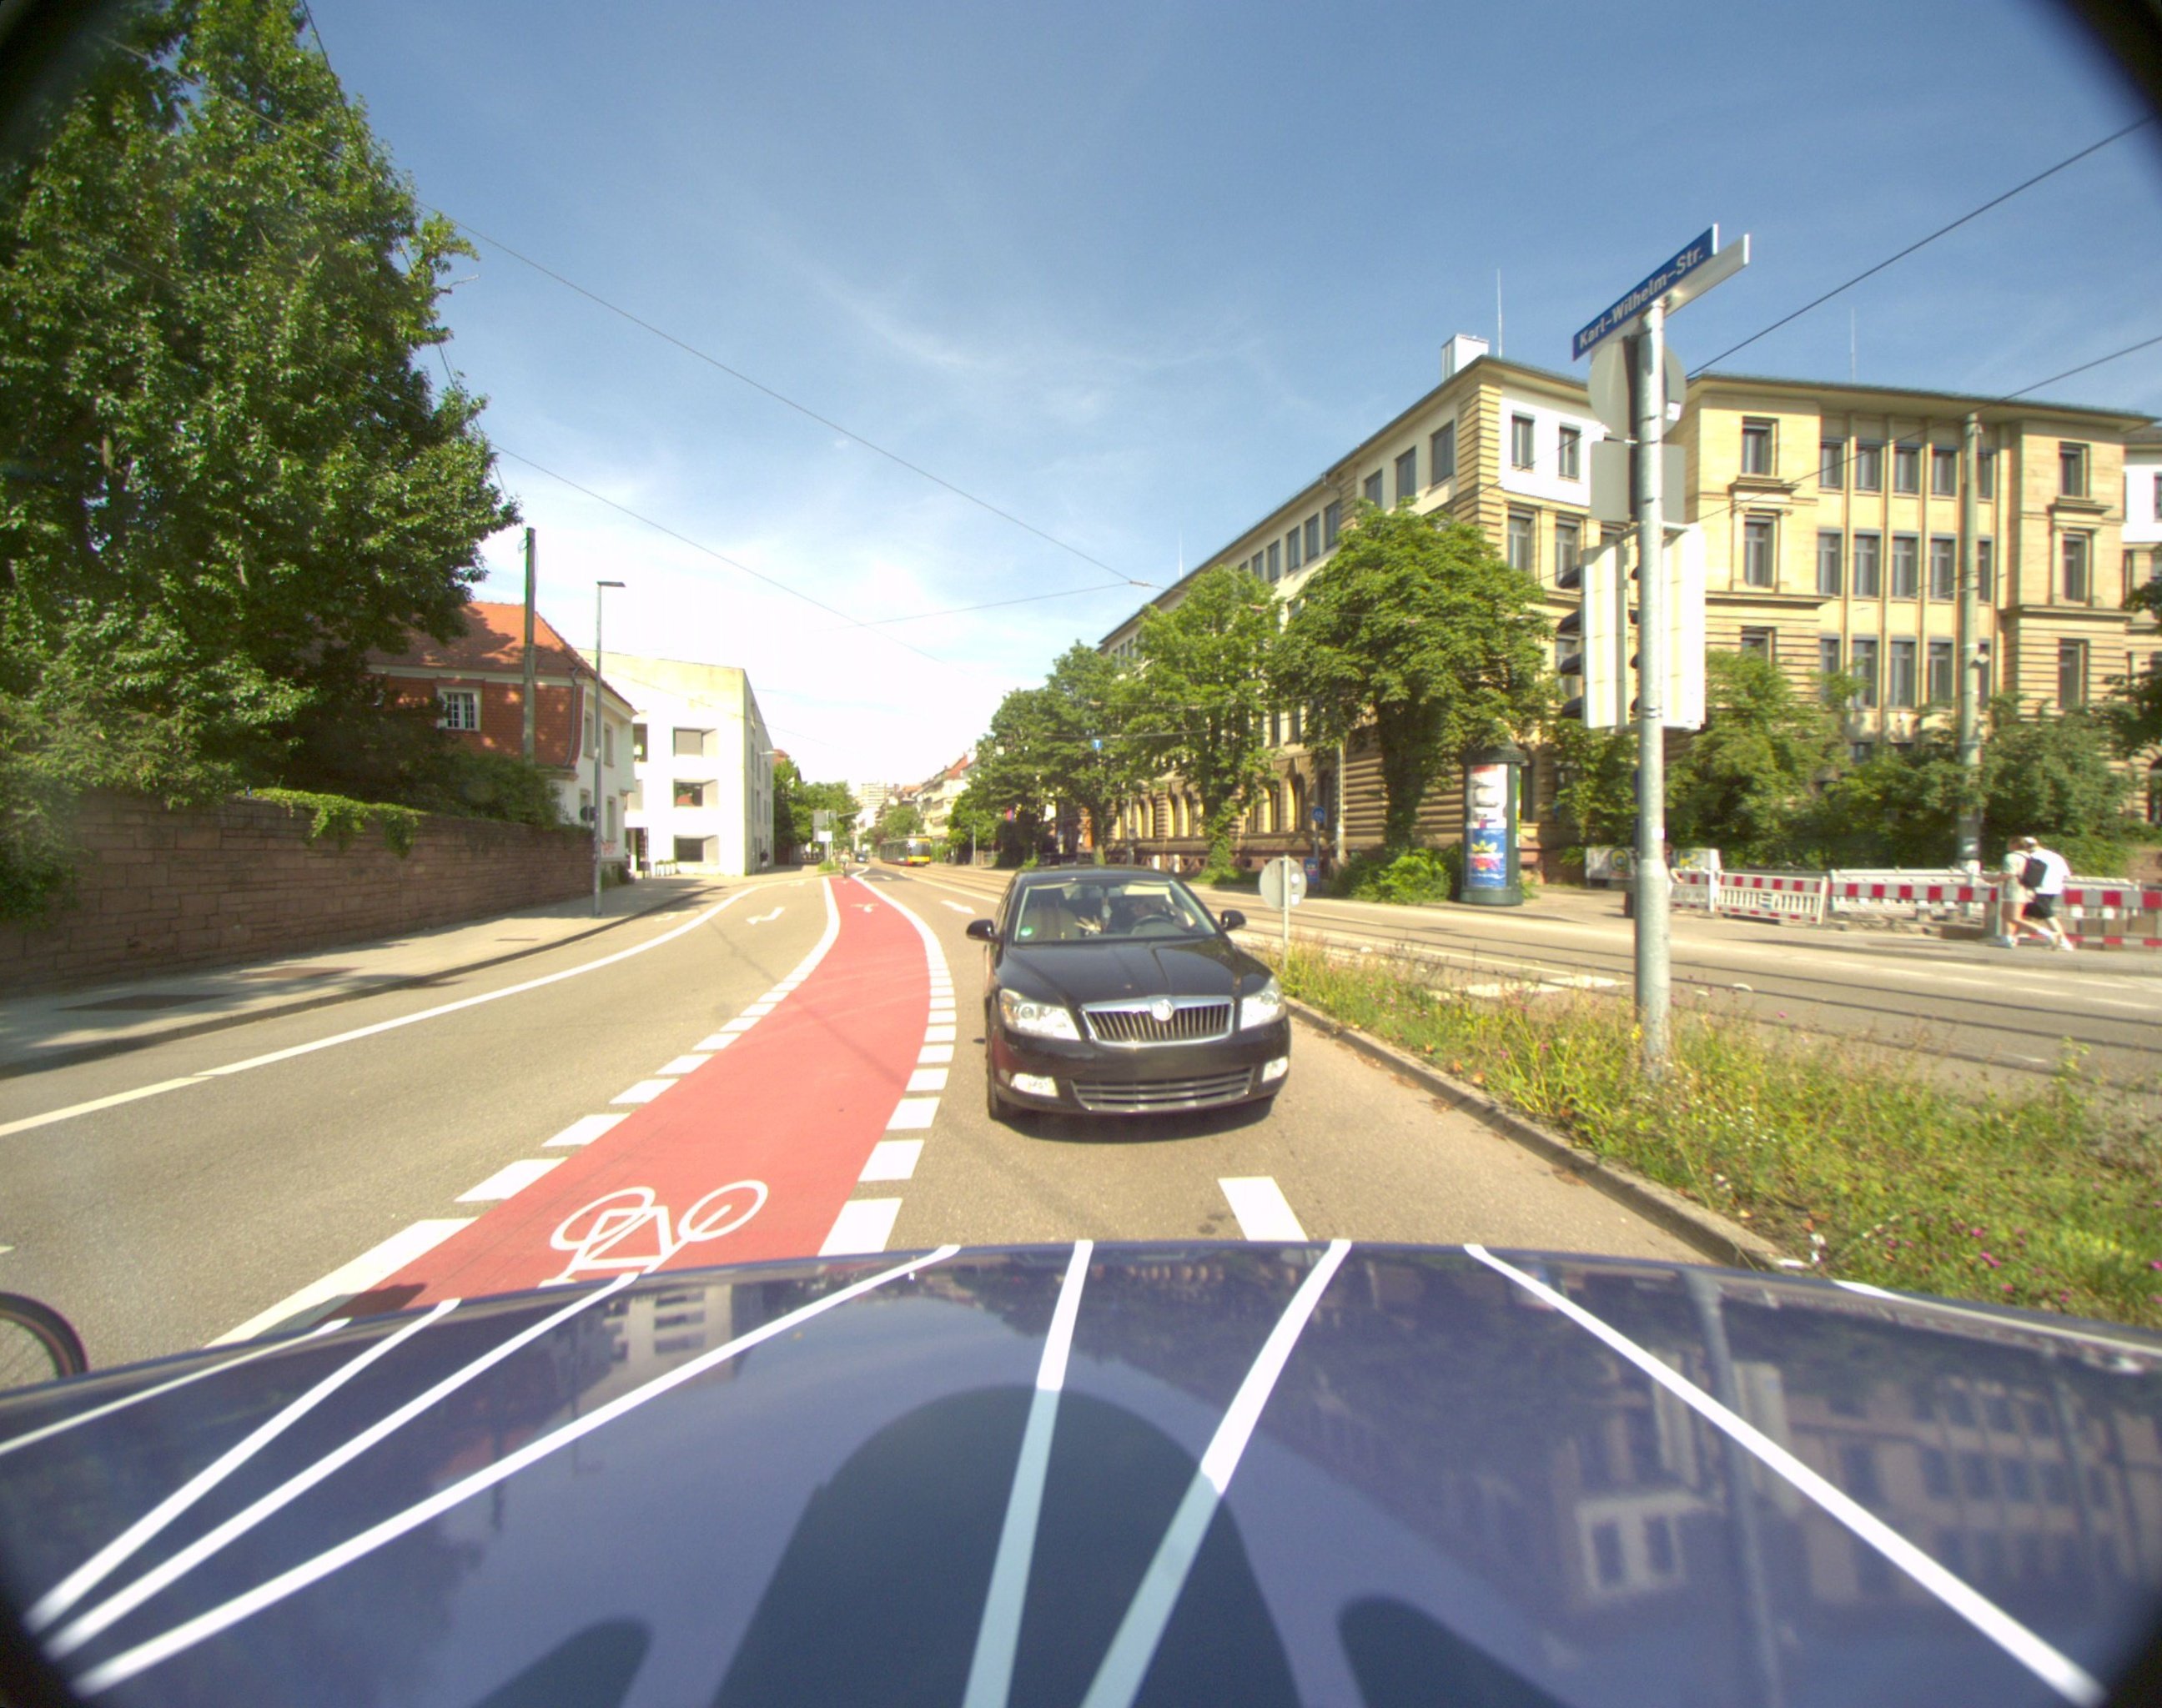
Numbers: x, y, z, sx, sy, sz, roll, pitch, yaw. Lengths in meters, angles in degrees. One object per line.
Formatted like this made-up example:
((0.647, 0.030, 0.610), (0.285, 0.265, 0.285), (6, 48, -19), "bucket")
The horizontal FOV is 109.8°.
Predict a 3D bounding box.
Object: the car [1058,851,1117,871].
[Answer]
((0.497, 0.539, 57.370), (4.004, 1.455, 1.996), (0, 0, -20), "car")

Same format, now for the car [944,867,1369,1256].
((0.100, 0.918, 5.696), (1.865, 1.510, 4.824), (0, 1, -6), "car")

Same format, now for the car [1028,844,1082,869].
((-2.131, 0.229, 62.349), (4.004, 2.002, 1.996), (0, 0, -20), "car")

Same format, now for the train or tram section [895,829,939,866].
((-18.734, -0.722, 85.784), (3.219, 3.838, 14.563), (0, 0, -19), "train or tram section")

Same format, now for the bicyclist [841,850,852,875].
((-14.810, 0.555, 48.020), (0.588, 1.539, 0.930), (-3, 1, -16), "bicyclist")

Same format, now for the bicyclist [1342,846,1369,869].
((11.558, 0.146, 31.991), (0.683, 0.921, 0.868), (0, 1, -23), "bicyclist")

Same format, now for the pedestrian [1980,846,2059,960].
((14.912, 0.751, 12.090), (0.586, 1.739, 0.743), (-1, 1, -41), "pedestrian")

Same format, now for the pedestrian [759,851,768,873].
((-23.292, 0.561, 55.677), (0.550, 1.559, 0.930), (0, 1, -19), "pedestrian")

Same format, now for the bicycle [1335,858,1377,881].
((11.561, 0.647, 31.993), (0.702, 0.941, 1.662), (0, 1, -23), "bicycle")

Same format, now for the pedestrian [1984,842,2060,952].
((15.404, 0.670, 12.460), (0.586, 1.739, 0.743), (-1, 1, -41), "pedestrian")

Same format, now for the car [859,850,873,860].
((-30.986, 0.164, 109.562), (1.804, 1.368, 4.271), (0, 0, -14), "car")

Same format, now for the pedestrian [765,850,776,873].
((-22.929, 0.541, 56.106), (0.651, 1.697, 0.710), (0, 1, -19), "pedestrian")

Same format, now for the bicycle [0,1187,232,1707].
((-2.350, 1.264, 0.797), (0.598, 0.926, 2.028), (-1, 0, 1), "bicycle")

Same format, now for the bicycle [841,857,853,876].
((-14.805, 0.777, 48.073), (0.686, 1.215, 2.183), (0, 0, -16), "bicycle")

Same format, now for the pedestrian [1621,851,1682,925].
((13.099, 0.747, 17.471), (0.938, 1.646, 0.845), (0, 1, 25), "pedestrian")
